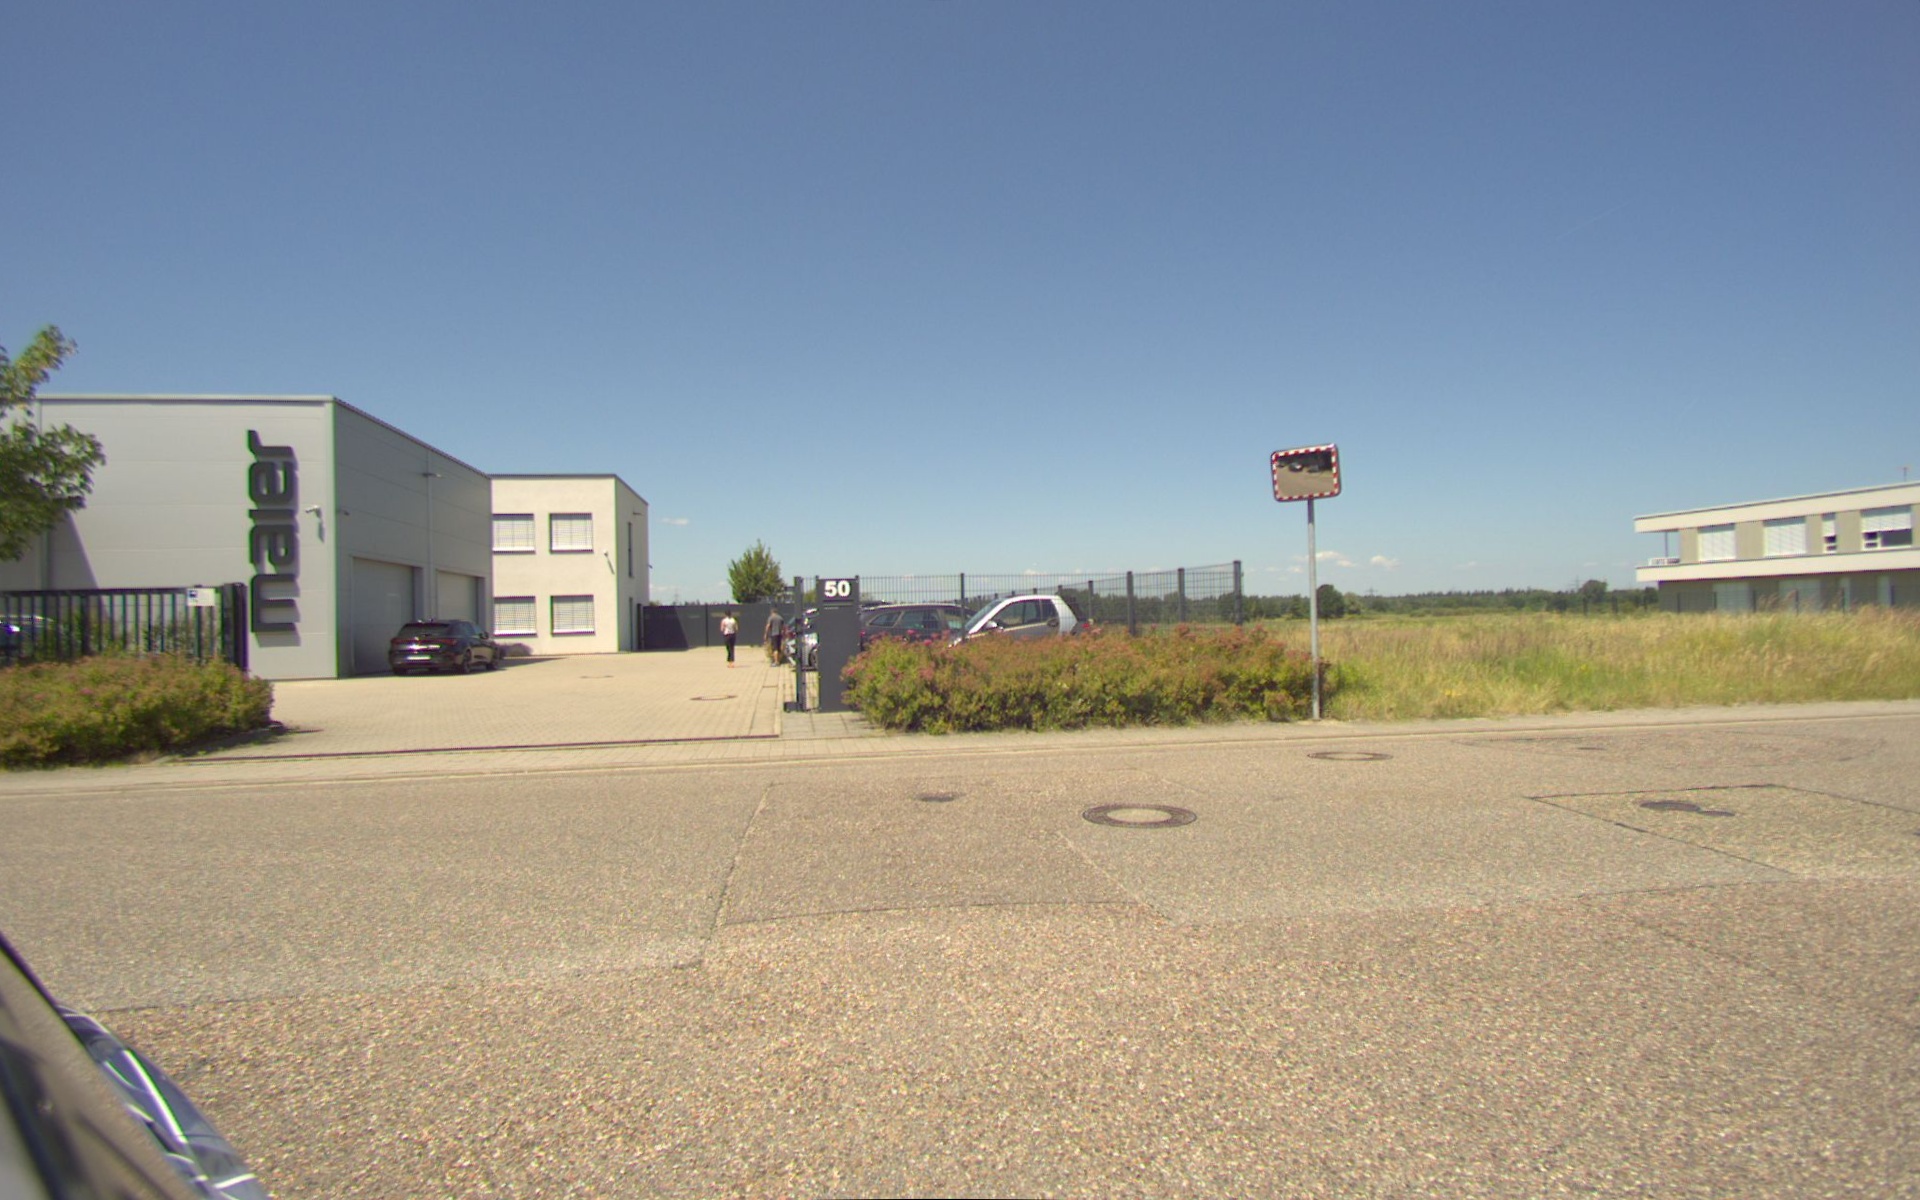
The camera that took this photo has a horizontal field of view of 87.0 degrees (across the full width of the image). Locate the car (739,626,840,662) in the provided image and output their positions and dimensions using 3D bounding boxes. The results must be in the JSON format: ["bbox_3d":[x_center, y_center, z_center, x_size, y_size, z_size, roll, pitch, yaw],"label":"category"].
[{"bbox_3d":[-6.944,1.757,41.292,3.936,1.320,2.004,-1,-1,-9],"label":"car"}]

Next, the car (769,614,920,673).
[{"bbox_3d":[-3.212,1.181,27.819,3.934,1.451,1.681,-2,-2,-12],"label":"car"}]

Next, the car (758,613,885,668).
[{"bbox_3d":[-4.509,1.296,32.753,3.934,1.618,1.681,-2,-2,-12],"label":"car"}]

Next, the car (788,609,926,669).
[{"bbox_3d":[-3.131,1.152,30.486,3.934,1.618,1.681,-2,-2,-12],"label":"car"}]

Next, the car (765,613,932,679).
[{"bbox_3d":[-2.810,1.122,25.192,3.934,1.451,1.681,-2,-2,-12],"label":"car"}]

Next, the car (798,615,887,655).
[{"bbox_3d":[-5.424,1.576,46.507,3.936,1.697,2.004,-1,-1,-9],"label":"car"}]

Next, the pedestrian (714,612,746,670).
[{"bbox_3d":[-6.661,1.189,29.309,0.762,1.641,0.623,-1,-1,-24],"label":"pedestrian"}]

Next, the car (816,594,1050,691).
[{"bbox_3d":[-0.553,0.752,18.452,3.934,1.553,1.835,-2,-2,-12],"label":"car"}]

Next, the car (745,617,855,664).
[{"bbox_3d":[-6.055,1.496,38.154,3.934,1.617,1.681,-1,-1,-12],"label":"car"}]

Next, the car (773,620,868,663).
[{"bbox_3d":[-6.054,1.782,43.678,3.936,1.697,2.004,-1,-1,-9],"label":"car"}]

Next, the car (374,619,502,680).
[{"bbox_3d":[-13.528,1.249,26.466,1.769,1.431,3.877,-1,-1,-8],"label":"car"}]

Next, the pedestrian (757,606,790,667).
[{"bbox_3d":[-5.342,1.047,29.020,0.816,1.695,0.714,-1,-1,-18],"label":"pedestrian"}]

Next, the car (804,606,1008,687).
[{"bbox_3d":[-1.163,0.934,20.929,3.934,1.451,1.811,-2,-2,-12],"label":"car"}]

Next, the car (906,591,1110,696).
[{"bbox_3d":[0.727,0.693,16.569,2.948,1.532,1.709,-1,-2,-12],"label":"car"}]
